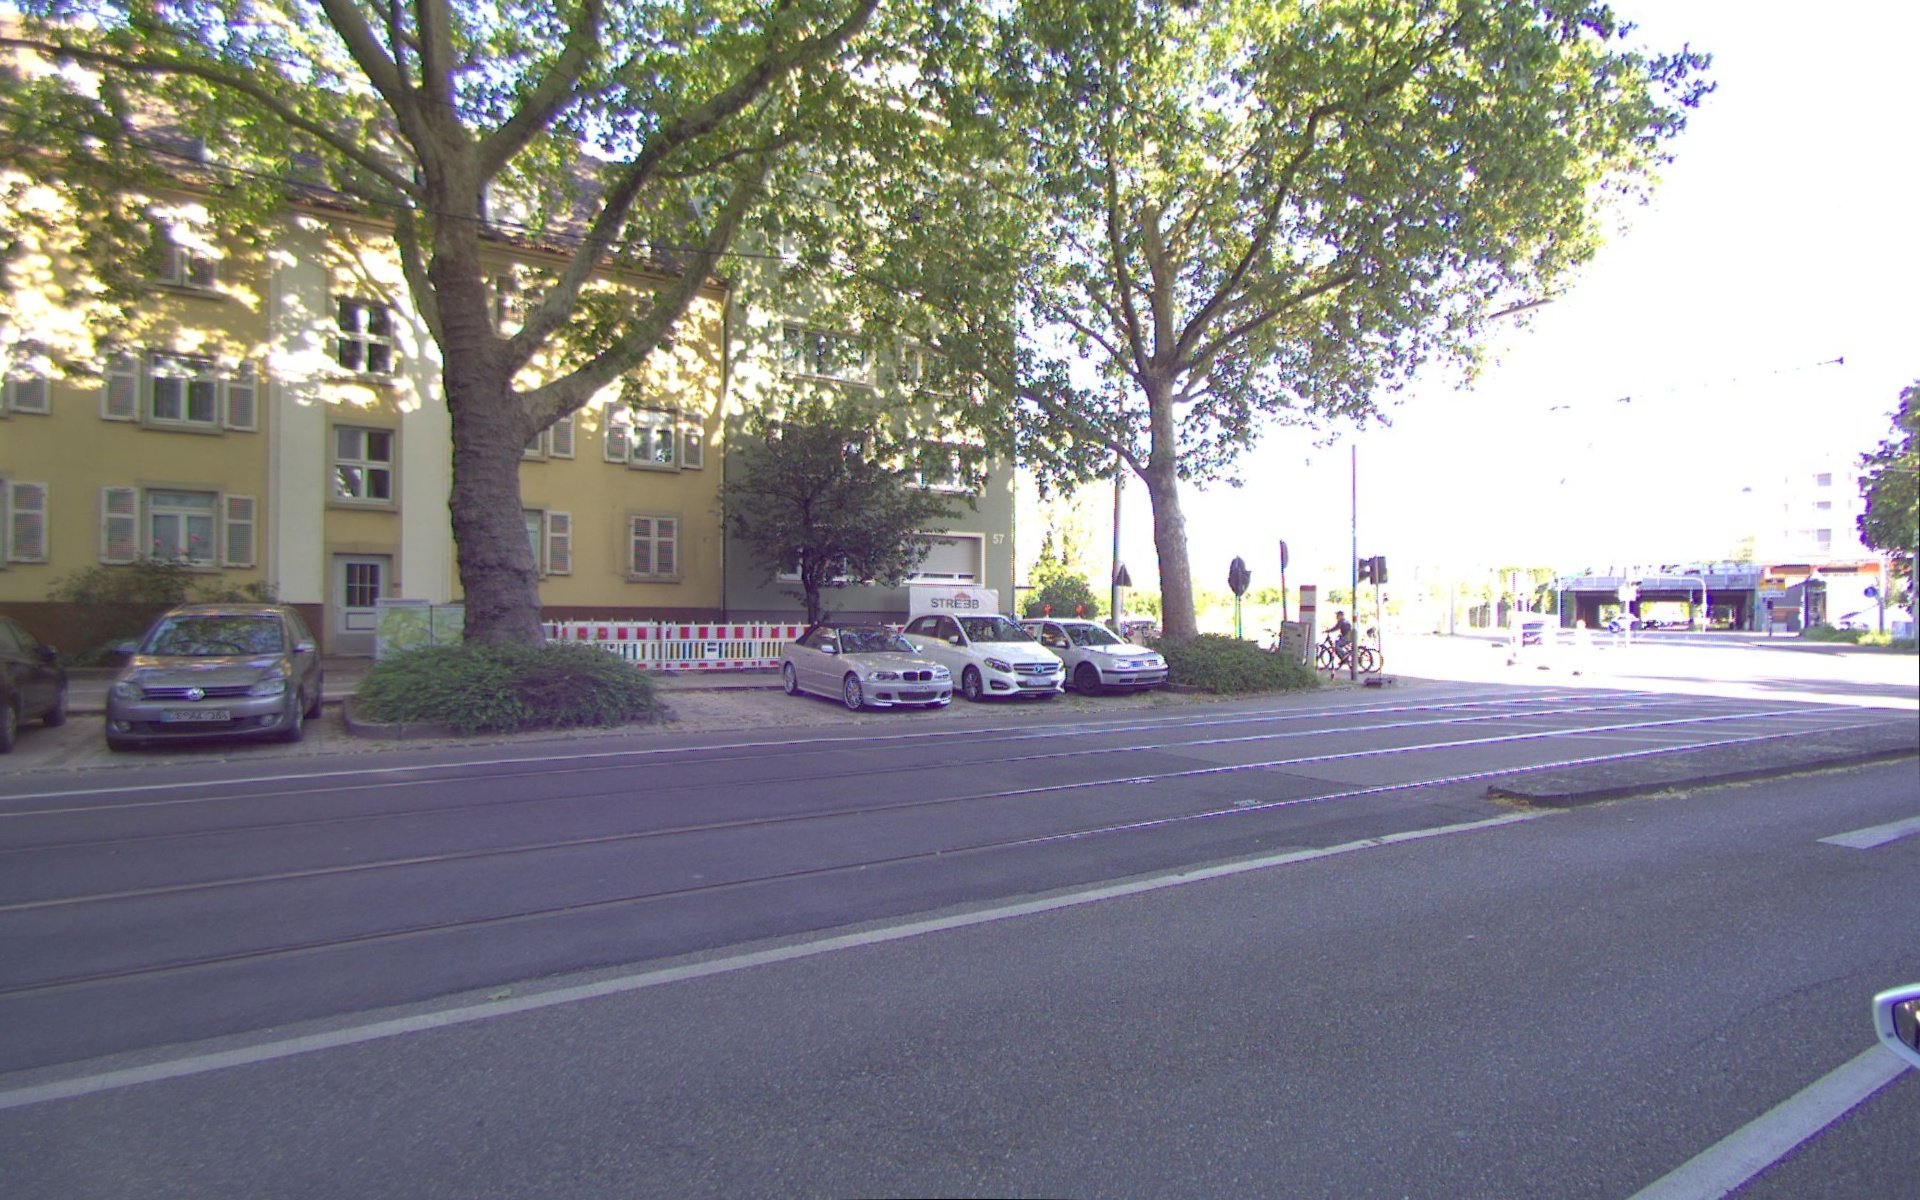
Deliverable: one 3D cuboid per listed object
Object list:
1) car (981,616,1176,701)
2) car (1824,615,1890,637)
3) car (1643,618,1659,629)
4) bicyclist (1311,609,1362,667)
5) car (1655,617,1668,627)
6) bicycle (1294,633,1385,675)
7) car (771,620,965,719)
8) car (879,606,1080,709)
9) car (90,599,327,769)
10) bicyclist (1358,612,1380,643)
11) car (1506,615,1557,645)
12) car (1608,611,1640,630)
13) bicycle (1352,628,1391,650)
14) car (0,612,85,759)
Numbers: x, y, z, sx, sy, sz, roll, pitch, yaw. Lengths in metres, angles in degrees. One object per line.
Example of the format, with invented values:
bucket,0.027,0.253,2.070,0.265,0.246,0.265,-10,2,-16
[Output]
car,2.302,1.110,20.829,1.656,1.448,4.490,1,0,-30
car,77.584,2.254,86.946,4.120,1.829,1.731,0,-1,36
car,107.536,3.617,156.336,1.967,1.623,4.234,0,-1,34
bicyclist,10.228,1.016,27.272,1.099,1.540,0.918,0,-1,38
car,140.294,4.463,200.894,1.966,1.973,4.488,0,-1,32
bicycle,10.282,1.448,27.238,2.163,1.047,0.831,0,-1,38
car,-1.727,1.095,17.440,1.708,1.386,4.219,1,0,-31
car,0.223,0.994,19.484,1.777,1.640,4.587,1,1,-30
car,-9.034,0.860,12.431,1.793,1.627,4.169,1,1,-29
bicyclist,21.103,1.421,51.816,0.640,1.616,0.858,1,-1,-25
car,32.432,1.684,56.947,1.803,1.539,3.876,2,1,40
car,64.858,2.004,98.106,2.179,1.847,4.141,0,-1,28
bicycle,21.154,1.984,51.699,0.584,1.108,2.049,1,-1,-25
car,-11.391,0.881,11.302,1.723,1.448,3.545,1,0,-31
